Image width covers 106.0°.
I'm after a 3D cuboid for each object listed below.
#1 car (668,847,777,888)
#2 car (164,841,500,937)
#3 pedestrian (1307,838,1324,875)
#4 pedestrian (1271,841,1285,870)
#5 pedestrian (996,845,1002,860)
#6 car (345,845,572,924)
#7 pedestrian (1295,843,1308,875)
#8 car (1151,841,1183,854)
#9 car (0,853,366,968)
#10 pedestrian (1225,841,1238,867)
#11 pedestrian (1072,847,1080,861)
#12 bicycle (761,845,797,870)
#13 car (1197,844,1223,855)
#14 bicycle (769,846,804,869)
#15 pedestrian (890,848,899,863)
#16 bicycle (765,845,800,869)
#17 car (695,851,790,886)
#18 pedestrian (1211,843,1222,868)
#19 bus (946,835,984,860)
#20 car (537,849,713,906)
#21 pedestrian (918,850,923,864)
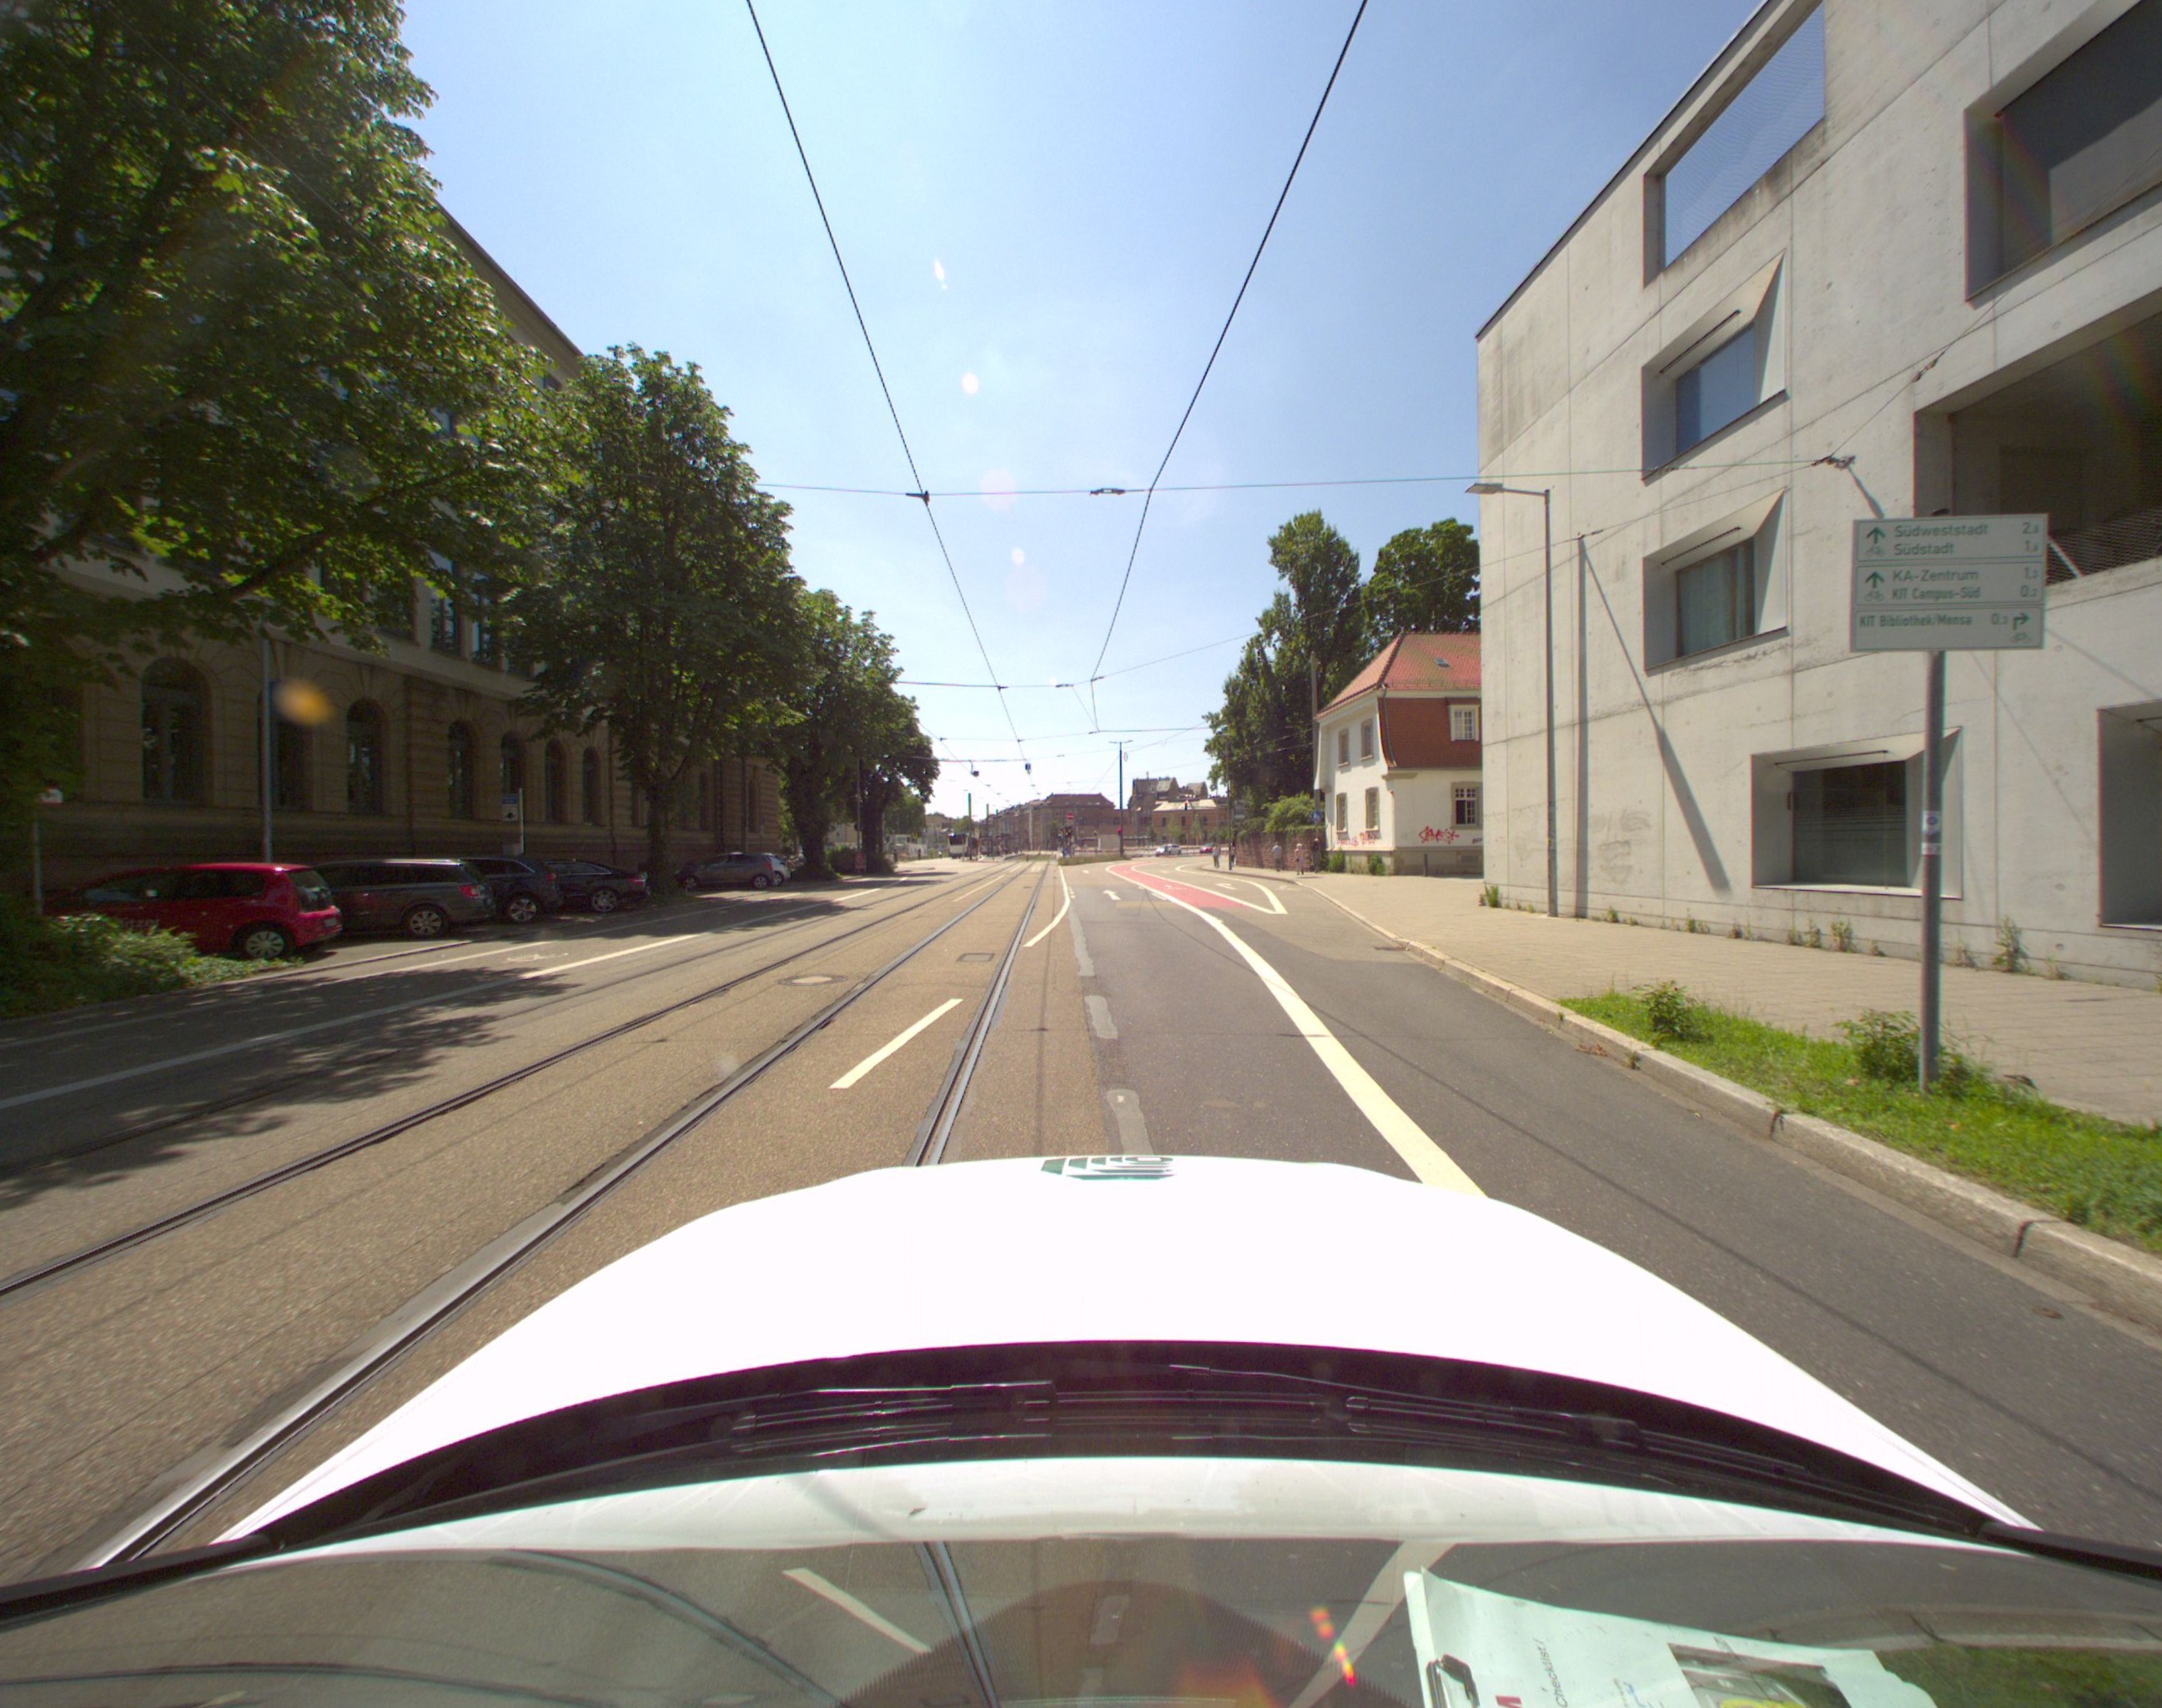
[{"bbox_3d":[-13.966,0.547,31.748,3.688,1.520,1.653,1,-1,-30],"label":"car"},{"bbox_3d":[-13.629,0.614,15.241,4.336,1.584,1.653,1,-1,-31],"label":"car"},{"bbox_3d":[11.615,0.098,40.368,0.623,1.773,0.720,-3,1,7],"label":"pedestrian"},{"bbox_3d":[11.088,0.083,45.742,0.658,1.647,0.625,0,0,3],"label":"pedestrian"},{"bbox_3d":[-9.997,-0.197,99.361,0.673,1.909,0.638,0,0,-12],"label":"pedestrian"},{"bbox_3d":[-13.657,0.602,18.189,3.831,1.577,1.776,0,0,-31],"label":"car"},{"bbox_3d":[10.804,0.237,39.964,0.513,1.533,0.598,0,0,3],"label":"pedestrian"},{"bbox_3d":[10.550,-0.765,99.354,1.974,1.438,4.735,0,0,33],"label":"car"},{"bbox_3d":[-13.197,0.762,12.234,3.360,1.516,1.654,1,0,-28],"label":"car"},{"bbox_3d":[10.677,0.008,57.896,0.811,1.808,0.700,0,0,2],"label":"pedestrian"},{"bbox_3d":[-0.711,-0.024,109.514,0.771,1.864,0.721,1,-1,-43],"label":"pedestrian"},{"bbox_3d":[-21.403,0.247,57.765,2.311,1.692,0.553,0,-1,3],"label":"bicycle"},{"bbox_3d":[17.369,-0.632,109.438,1.714,1.425,4.150,0,-1,35],"label":"car"},{"bbox_3d":[-21.317,0.244,58.989,2.311,1.692,0.553,0,-1,3],"label":"bicycle"},{"bbox_3d":[-19.644,0.162,85.662,0.602,1.602,0.828,0,0,8],"label":"pedestrian"},{"bbox_3d":[-21.382,0.233,58.380,2.311,1.692,0.553,0,-1,3],"label":"bicycle"},{"bbox_3d":[-14.365,0.595,34.579,3.560,1.406,1.686,0,0,-30],"label":"car"},{"bbox_3d":[9.633,0.103,57.739,0.674,1.808,0.748,0,0,2],"label":"pedestrian"},{"bbox_3d":[-15.658,-0.905,111.191,3.002,3.157,17.489,0,0,-1],"label":"bus"},{"bbox_3d":[-12.017,0.581,21.718,3.943,1.374,1.654,-1,0,-28],"label":"car"},{"bbox_3d":[-20.277,0.344,102.894,0.566,1.705,0.396,0,0,-9],"label":"pedestrian"}]
